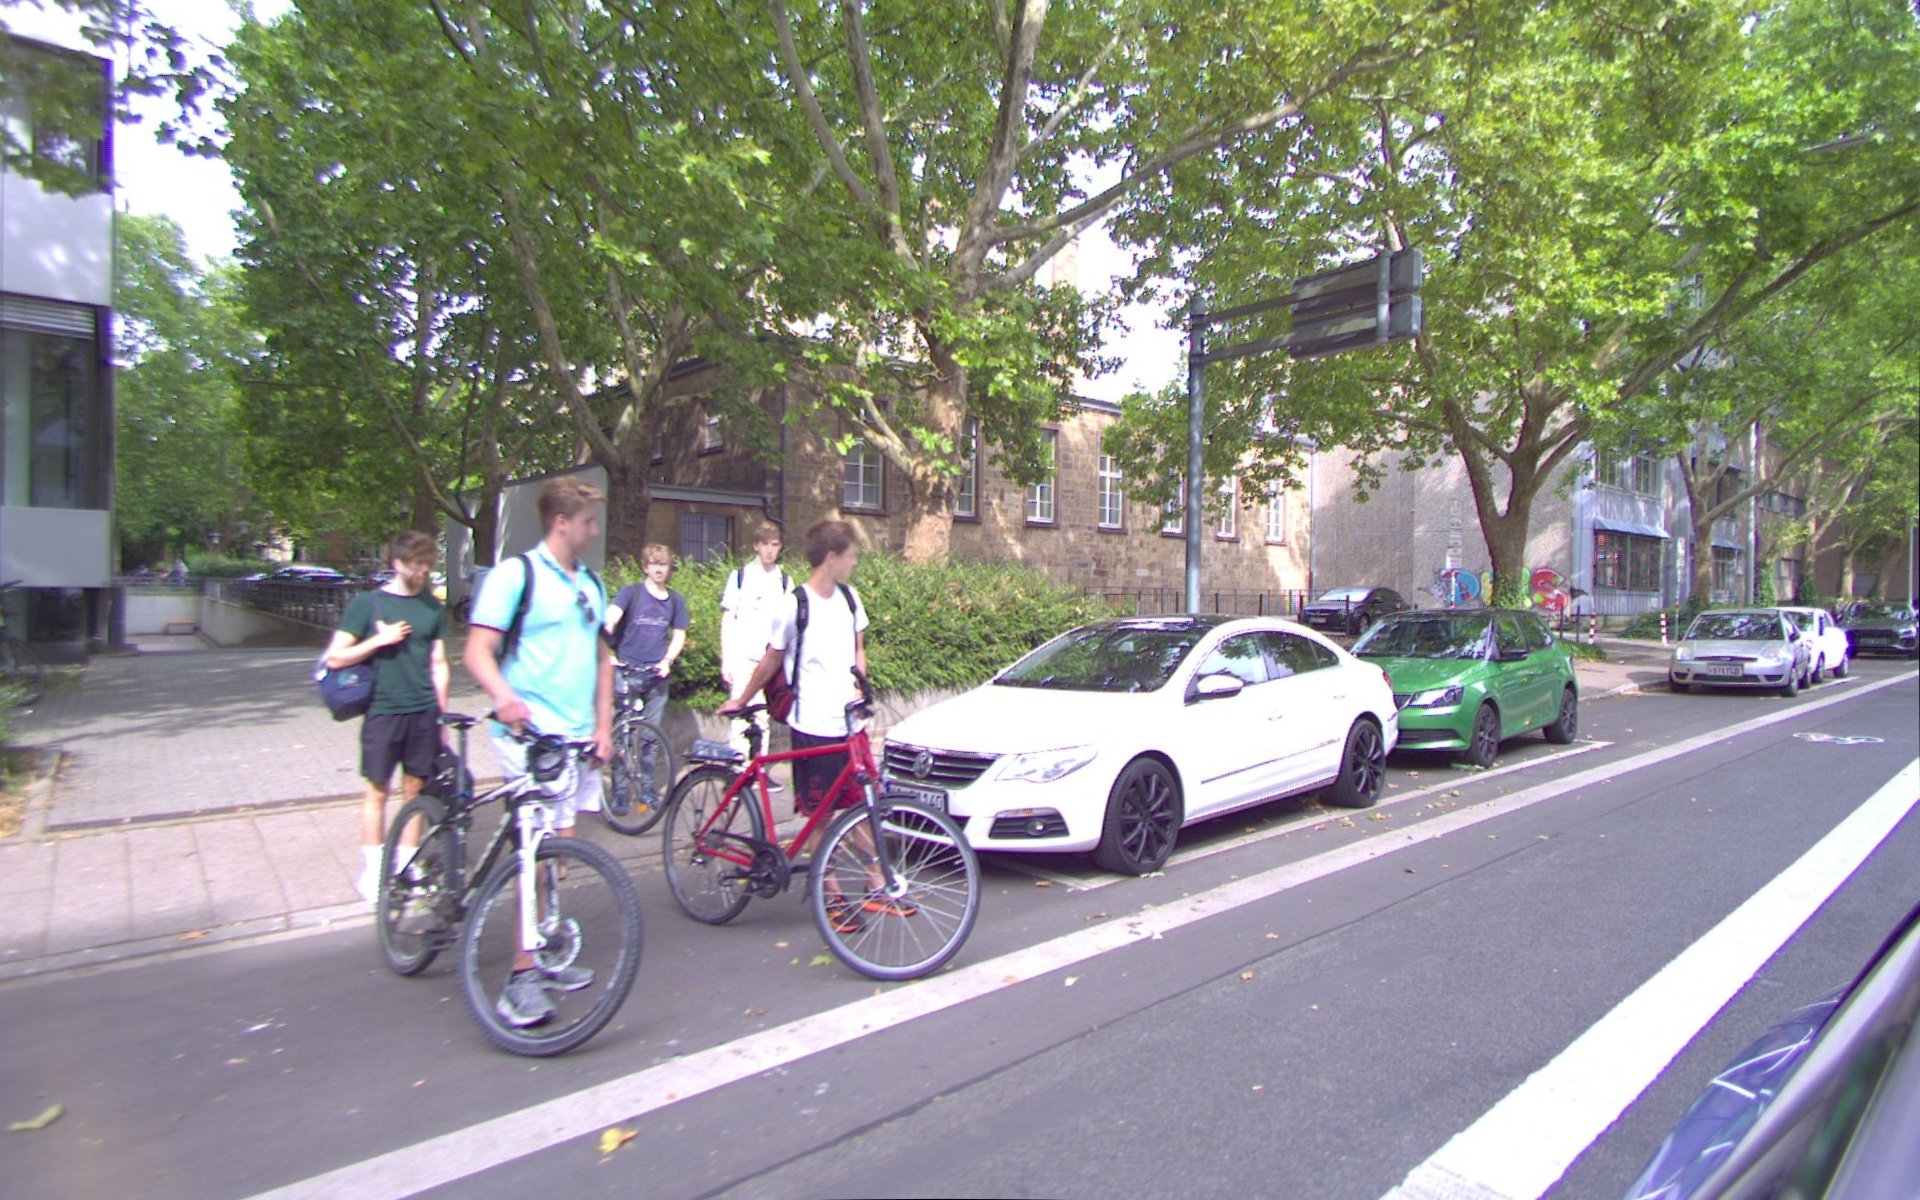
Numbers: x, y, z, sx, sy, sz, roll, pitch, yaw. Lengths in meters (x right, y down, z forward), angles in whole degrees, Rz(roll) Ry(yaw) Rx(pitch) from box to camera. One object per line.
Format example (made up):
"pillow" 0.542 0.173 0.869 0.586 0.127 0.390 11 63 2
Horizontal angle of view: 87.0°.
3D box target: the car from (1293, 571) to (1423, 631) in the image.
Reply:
"car" 11.135 0.058 28.165 4.223 1.468 1.671 3 -1 -42

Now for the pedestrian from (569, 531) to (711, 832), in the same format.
"pedestrian" -2.164 0.506 6.828 0.691 1.878 0.722 0 -1 -40

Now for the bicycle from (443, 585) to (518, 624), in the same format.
"bicycle" -11.652 0.091 24.613 1.594 0.889 0.479 -2 2 -35

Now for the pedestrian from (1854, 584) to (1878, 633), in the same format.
"pedestrian" 34.661 0.318 38.717 0.518 1.806 0.502 0 4 -41

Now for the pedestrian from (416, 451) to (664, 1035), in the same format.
"pedestrian" -1.576 0.477 3.839 0.474 1.959 0.734 -1 -1 39

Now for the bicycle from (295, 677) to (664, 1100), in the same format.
"bicycle" -1.827 0.899 3.720 1.731 1.119 0.544 0 0 39

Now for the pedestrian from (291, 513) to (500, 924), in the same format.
"pedestrian" -2.862 0.530 5.119 0.766 1.840 0.872 0 -1 -40

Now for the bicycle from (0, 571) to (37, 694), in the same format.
"bicycle" -9.670 0.286 10.081 1.674 1.131 0.595 3 2 44

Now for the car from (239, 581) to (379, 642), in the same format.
"car" -27.576 0.474 42.944 4.710 2.438 2.226 0 -1 -43

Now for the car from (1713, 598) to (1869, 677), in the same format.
"car" 17.263 0.718 20.959 4.143 1.466 1.757 0 -1 -40

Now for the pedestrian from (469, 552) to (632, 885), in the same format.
"pedestrian" -2.271 0.598 5.602 0.643 1.679 0.722 0 -1 -40

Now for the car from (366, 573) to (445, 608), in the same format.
"car" -40.367 -0.669 73.744 4.710 2.438 2.226 0 -1 -43

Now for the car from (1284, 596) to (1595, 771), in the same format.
"car" 5.012 0.717 10.365 3.741 1.468 1.588 0 -2 -43

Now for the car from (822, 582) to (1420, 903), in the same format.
"car" 1.373 0.701 7.003 4.467 1.535 1.682 0 -2 -43

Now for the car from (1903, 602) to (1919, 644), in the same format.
"car" 34.737 0.782 35.769 3.886 1.441 1.601 0 -1 -40

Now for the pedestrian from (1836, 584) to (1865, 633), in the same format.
"pedestrian" 34.536 0.319 39.245 0.634 1.855 0.643 0 4 -41

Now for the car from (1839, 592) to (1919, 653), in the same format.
"car" 27.211 0.621 29.475 4.404 1.642 1.923 0 -1 -42

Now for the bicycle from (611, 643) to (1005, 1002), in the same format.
"bicycle" -0.706 0.834 4.379 1.782 1.233 0.547 0 0 33

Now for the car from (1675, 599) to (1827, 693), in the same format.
"car" 13.911 0.729 17.733 1.643 1.466 3.820 -1 -1 45

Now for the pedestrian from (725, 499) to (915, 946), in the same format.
"pedestrian" -0.636 0.512 4.691 0.518 1.869 0.735 0 -1 35

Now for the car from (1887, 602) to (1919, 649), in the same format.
"car" 31.542 0.805 32.809 4.492 1.451 1.642 0 -1 -40

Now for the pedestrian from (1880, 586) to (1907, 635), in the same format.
"pedestrian" 35.068 0.393 38.011 0.468 1.806 0.592 0 4 -41

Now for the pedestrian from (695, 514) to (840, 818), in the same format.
"pedestrian" -1.385 0.436 7.270 0.736 2.023 0.794 0 -1 -40

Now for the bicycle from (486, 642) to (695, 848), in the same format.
"bicycle" -2.477 0.884 6.684 1.763 1.146 0.456 0 0 39

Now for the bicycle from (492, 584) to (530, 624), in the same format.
"bicycle" -10.662 0.082 24.014 0.499 0.889 1.625 -2 2 -35
